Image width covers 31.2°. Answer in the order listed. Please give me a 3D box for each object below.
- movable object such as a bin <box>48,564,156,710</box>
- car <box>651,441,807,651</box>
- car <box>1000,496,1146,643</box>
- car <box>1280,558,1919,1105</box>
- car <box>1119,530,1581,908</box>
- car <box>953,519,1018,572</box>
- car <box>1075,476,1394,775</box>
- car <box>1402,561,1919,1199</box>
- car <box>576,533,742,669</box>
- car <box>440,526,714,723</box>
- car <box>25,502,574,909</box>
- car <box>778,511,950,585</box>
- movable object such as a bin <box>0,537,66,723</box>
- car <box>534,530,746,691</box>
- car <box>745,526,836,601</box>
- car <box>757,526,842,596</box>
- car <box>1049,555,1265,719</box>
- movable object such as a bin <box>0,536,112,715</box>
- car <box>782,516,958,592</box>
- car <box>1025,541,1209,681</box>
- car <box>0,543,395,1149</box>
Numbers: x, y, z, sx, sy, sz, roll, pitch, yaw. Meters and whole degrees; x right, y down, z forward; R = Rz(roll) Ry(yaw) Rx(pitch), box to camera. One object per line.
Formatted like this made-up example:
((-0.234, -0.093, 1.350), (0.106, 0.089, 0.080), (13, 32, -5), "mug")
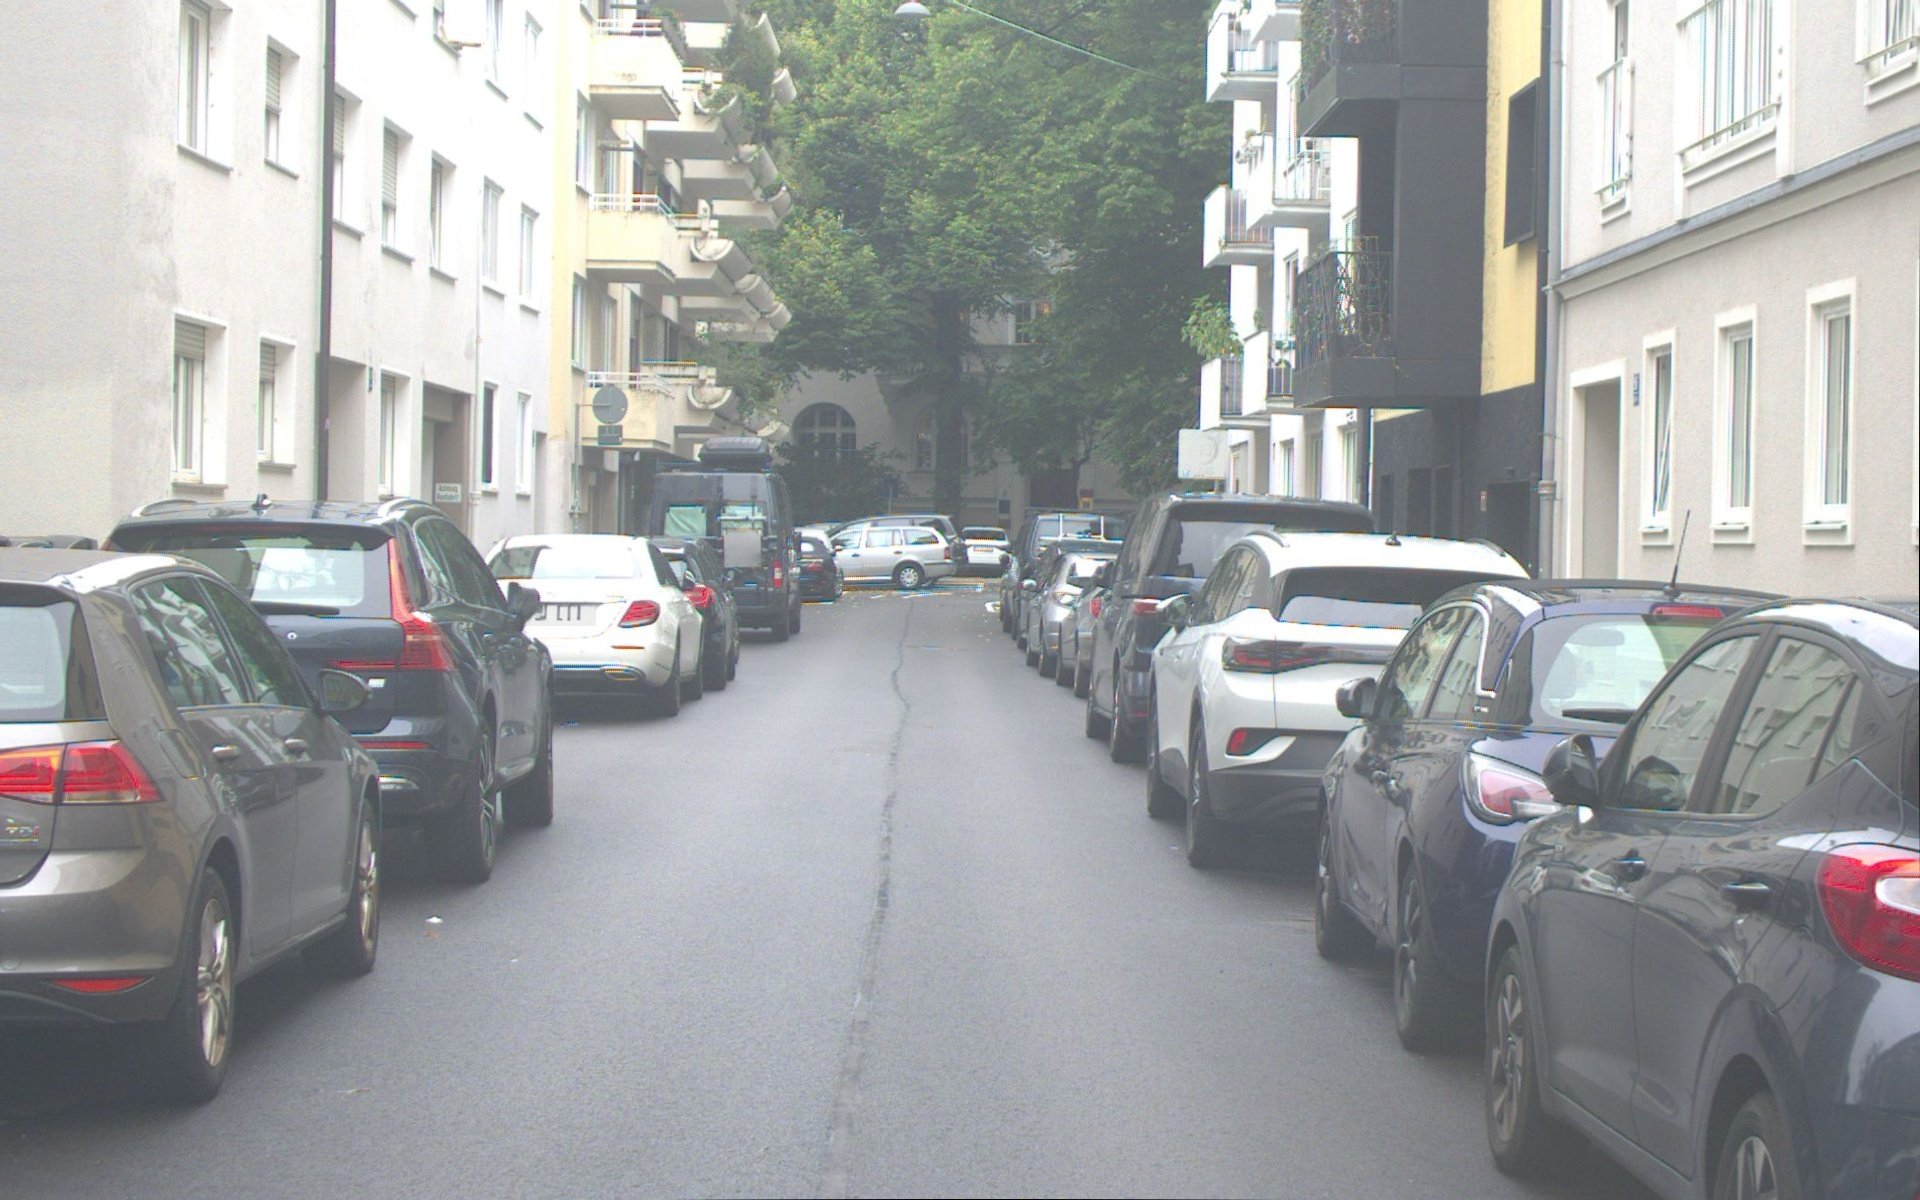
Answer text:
((-6.265, 0.264, 25.126), (0.650, 1.017, 0.585), (3, 1, -7), "movable object such as a bin")
((-3.230, -0.779, 48.854), (1.936, 2.792, 4.533), (-1, 1, -1), "car")
((1.654, -0.491, 51.766), (1.829, 1.992, 4.416), (4, 1, -1), "car")
((2.171, 0.660, 11.962), (1.664, 1.464, 3.819), (4, 1, 0), "car")
((1.843, 0.487, 17.548), (1.682, 1.562, 4.416), (4, 1, -1), "car")
((0.689, -1.504, 94.524), (1.642, 1.379, 3.746), (-2, 1, -1), "car")
((1.901, 0.118, 25.134), (1.829, 1.903, 4.416), (3, 1, -1), "car")
((2.236, 0.731, 7.728), (1.751, 1.464, 4.343), (4, 1, -1), "car")
((-3.400, -0.020, 39.295), (1.642, 1.448, 3.162), (-2, 1, -1), "car")
((-3.142, 0.142, 29.014), (1.777, 1.482, 4.519), (-1, 1, 0), "car")
((-2.884, 0.374, 15.931), (1.776, 1.623, 4.415), (0, 1, -1), "car")
((-2.226, -1.205, 79.396), (3.885, 1.579, 1.648), (-2, 1, -2), "car")
((-7.313, 0.214, 25.267), (1.166, 1.332, 1.025), (-1, 1, 2), "movable object such as a bin")
((-3.129, 0.059, 34.239), (1.776, 1.448, 4.046), (-2, 1, -1), "car")
((-3.305, -0.740, 67.513), (1.642, 1.379, 3.483), (-2, 1, -1), "car")
((-3.315, -0.831, 71.358), (1.642, 1.379, 3.483), (-2, 1, -1), "car")
((2.001, 0.337, 36.092), (1.829, 1.449, 4.416), (4, 1, -1), "car")
((-7.175, 0.187, 26.344), (1.047, 1.332, 0.993), (-1, 1, 2), "movable object such as a bin")
((-2.035, -1.040, 77.429), (3.885, 1.579, 1.648), (-2, 1, -2), "car")
((1.825, 0.085, 41.323), (1.829, 1.449, 4.416), (4, 1, -1), "car")
((-2.789, 0.563, 10.269), (1.693, 1.437, 3.978), (0, 1, -2), "car")
